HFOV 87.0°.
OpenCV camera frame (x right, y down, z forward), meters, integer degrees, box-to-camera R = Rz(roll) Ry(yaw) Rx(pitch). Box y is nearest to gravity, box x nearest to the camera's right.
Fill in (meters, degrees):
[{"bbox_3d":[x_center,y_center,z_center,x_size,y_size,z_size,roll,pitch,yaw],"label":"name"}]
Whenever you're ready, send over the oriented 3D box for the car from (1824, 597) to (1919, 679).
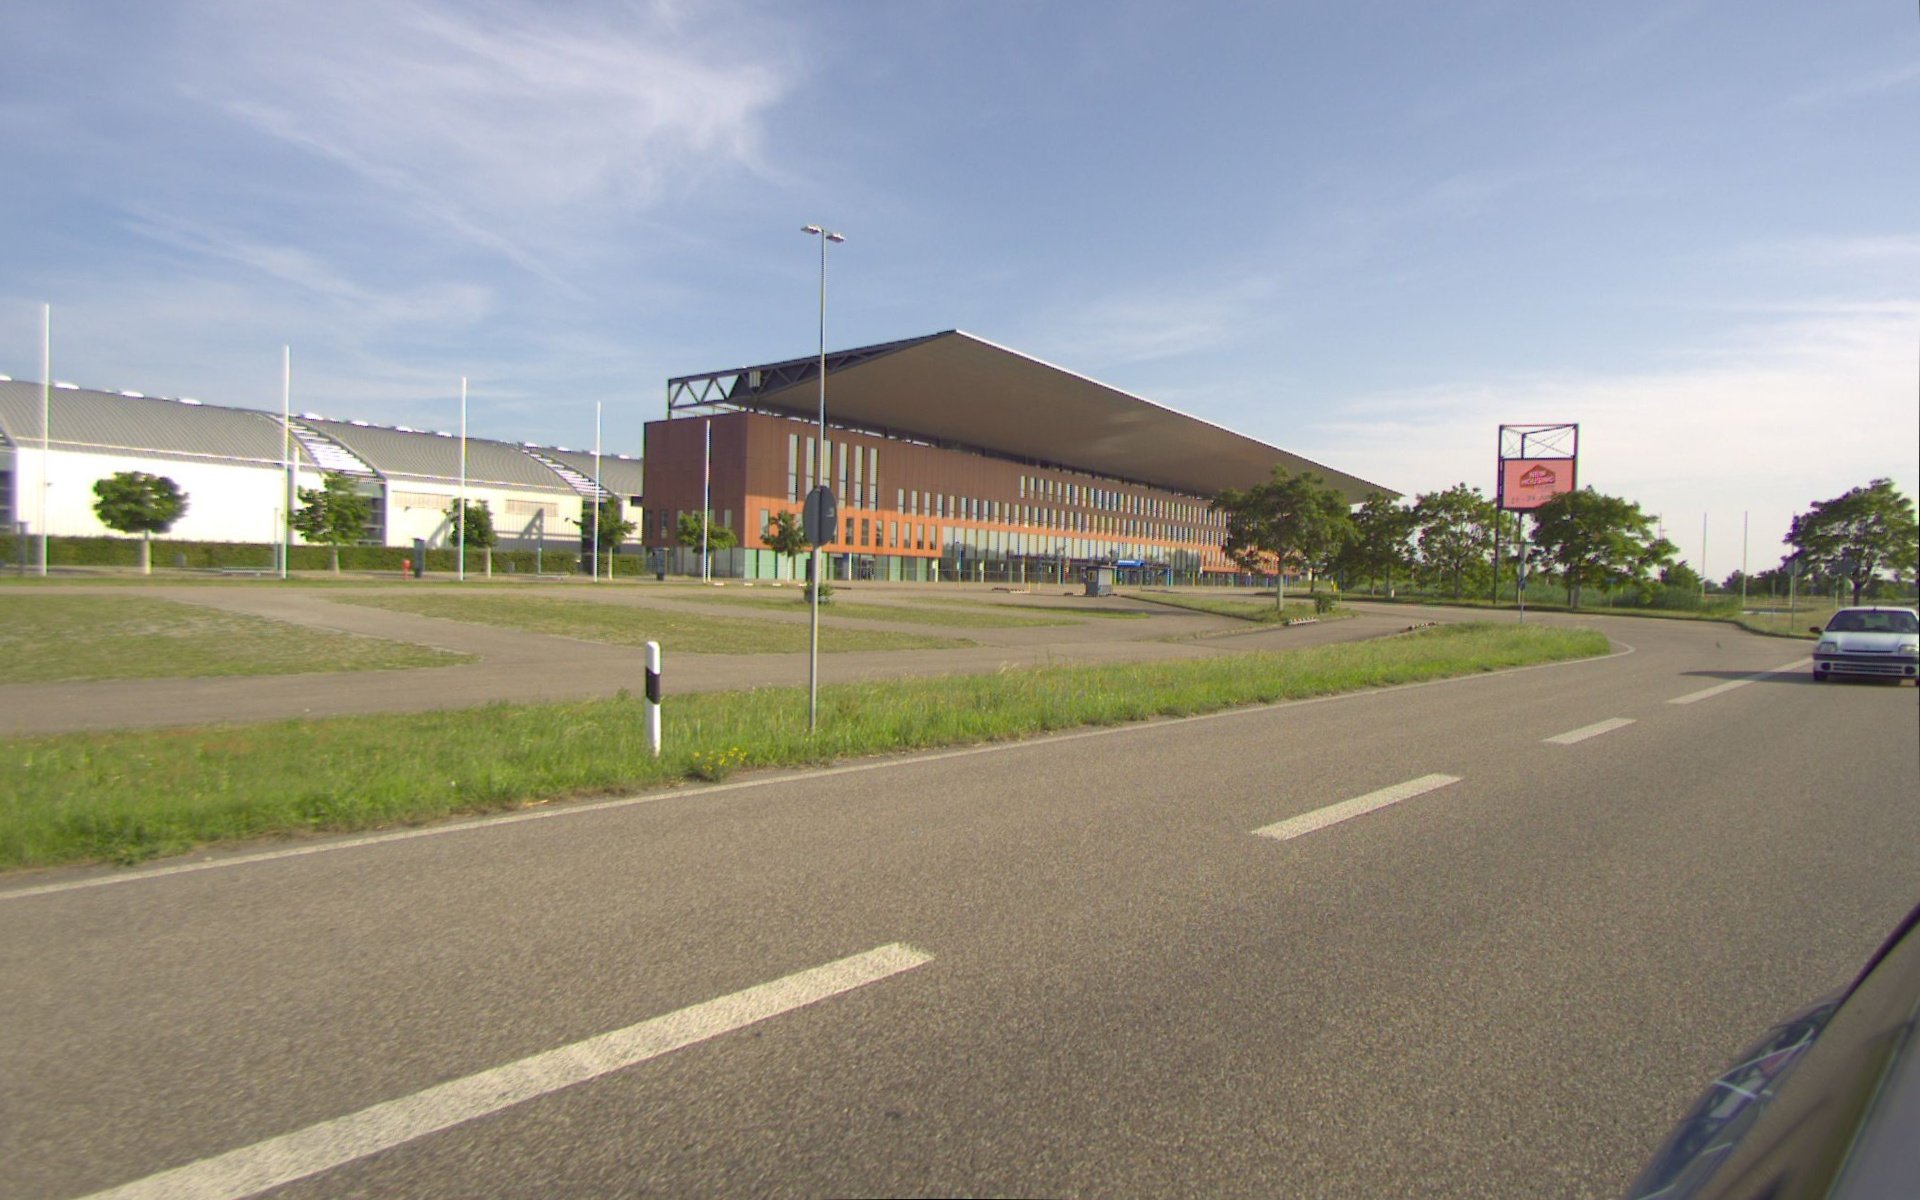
[{"bbox_3d":[17.566,0.653,19.080,3.394,1.396,1.576,0,1,-43],"label":"car"}]
